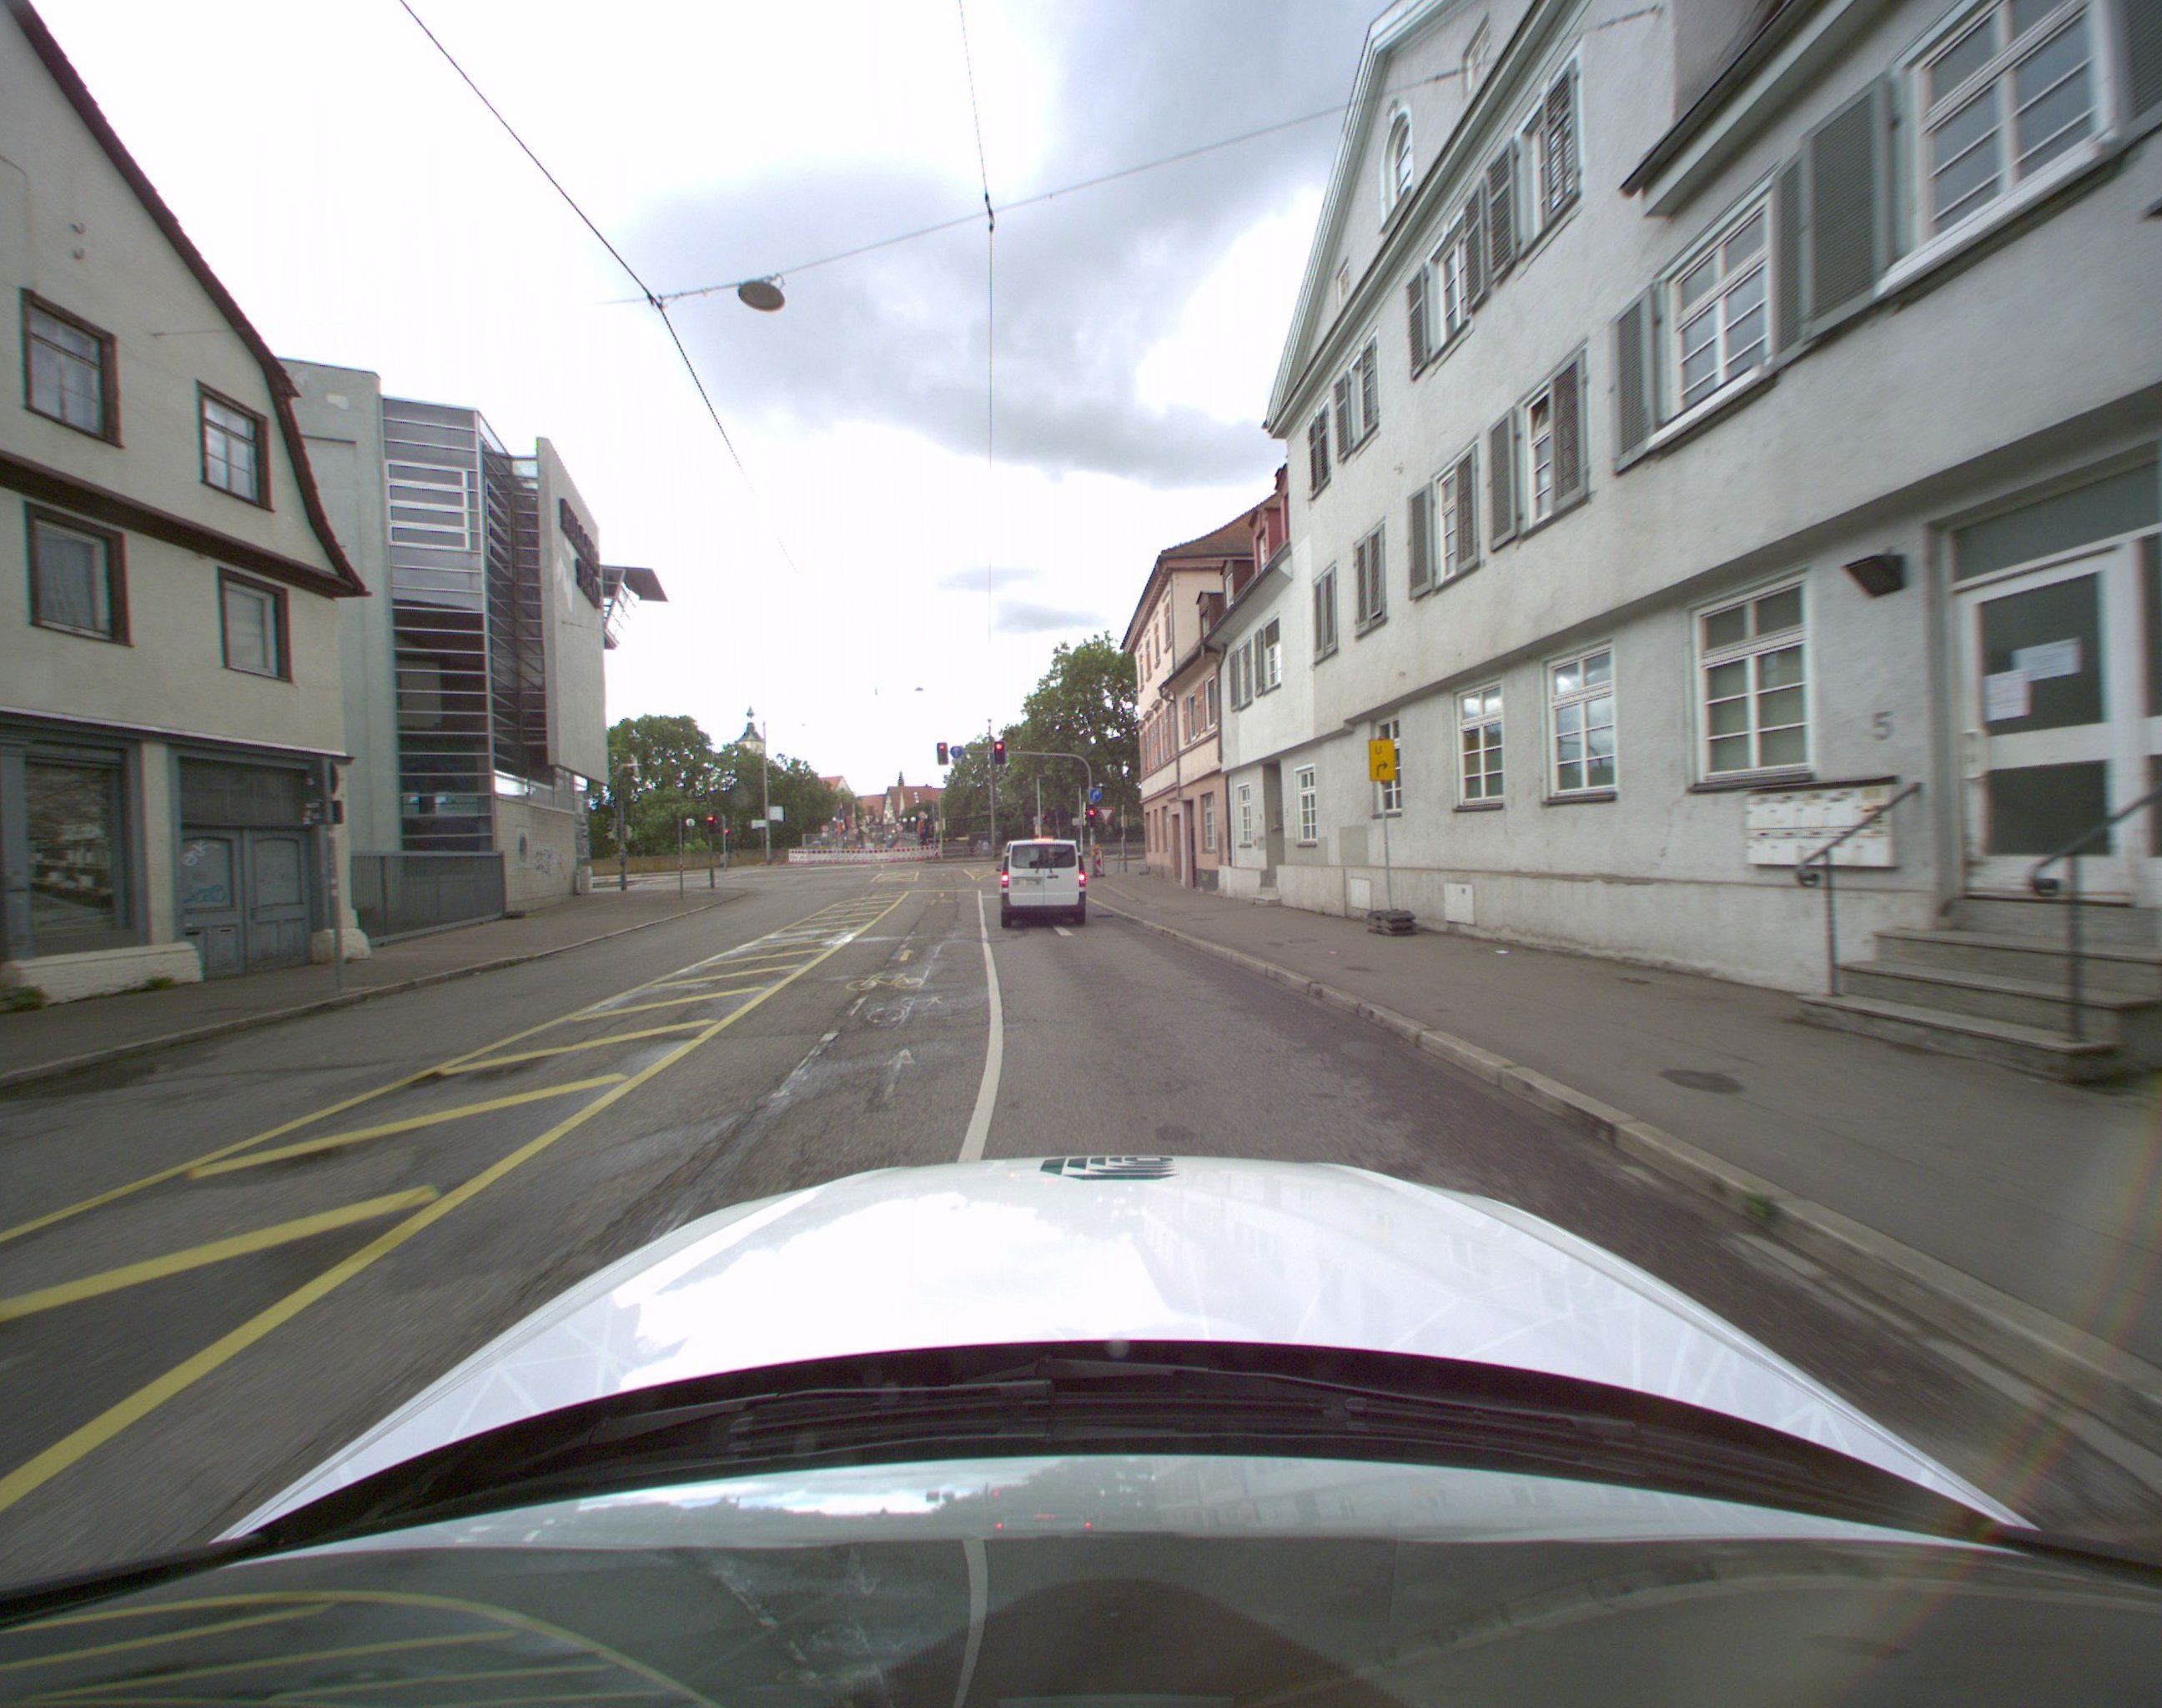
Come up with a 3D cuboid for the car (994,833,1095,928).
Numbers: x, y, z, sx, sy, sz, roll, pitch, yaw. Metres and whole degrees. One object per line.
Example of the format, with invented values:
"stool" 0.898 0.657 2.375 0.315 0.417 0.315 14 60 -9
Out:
"car" -0.977 0.529 19.119 1.992 1.923 4.238 -1 0 -7
